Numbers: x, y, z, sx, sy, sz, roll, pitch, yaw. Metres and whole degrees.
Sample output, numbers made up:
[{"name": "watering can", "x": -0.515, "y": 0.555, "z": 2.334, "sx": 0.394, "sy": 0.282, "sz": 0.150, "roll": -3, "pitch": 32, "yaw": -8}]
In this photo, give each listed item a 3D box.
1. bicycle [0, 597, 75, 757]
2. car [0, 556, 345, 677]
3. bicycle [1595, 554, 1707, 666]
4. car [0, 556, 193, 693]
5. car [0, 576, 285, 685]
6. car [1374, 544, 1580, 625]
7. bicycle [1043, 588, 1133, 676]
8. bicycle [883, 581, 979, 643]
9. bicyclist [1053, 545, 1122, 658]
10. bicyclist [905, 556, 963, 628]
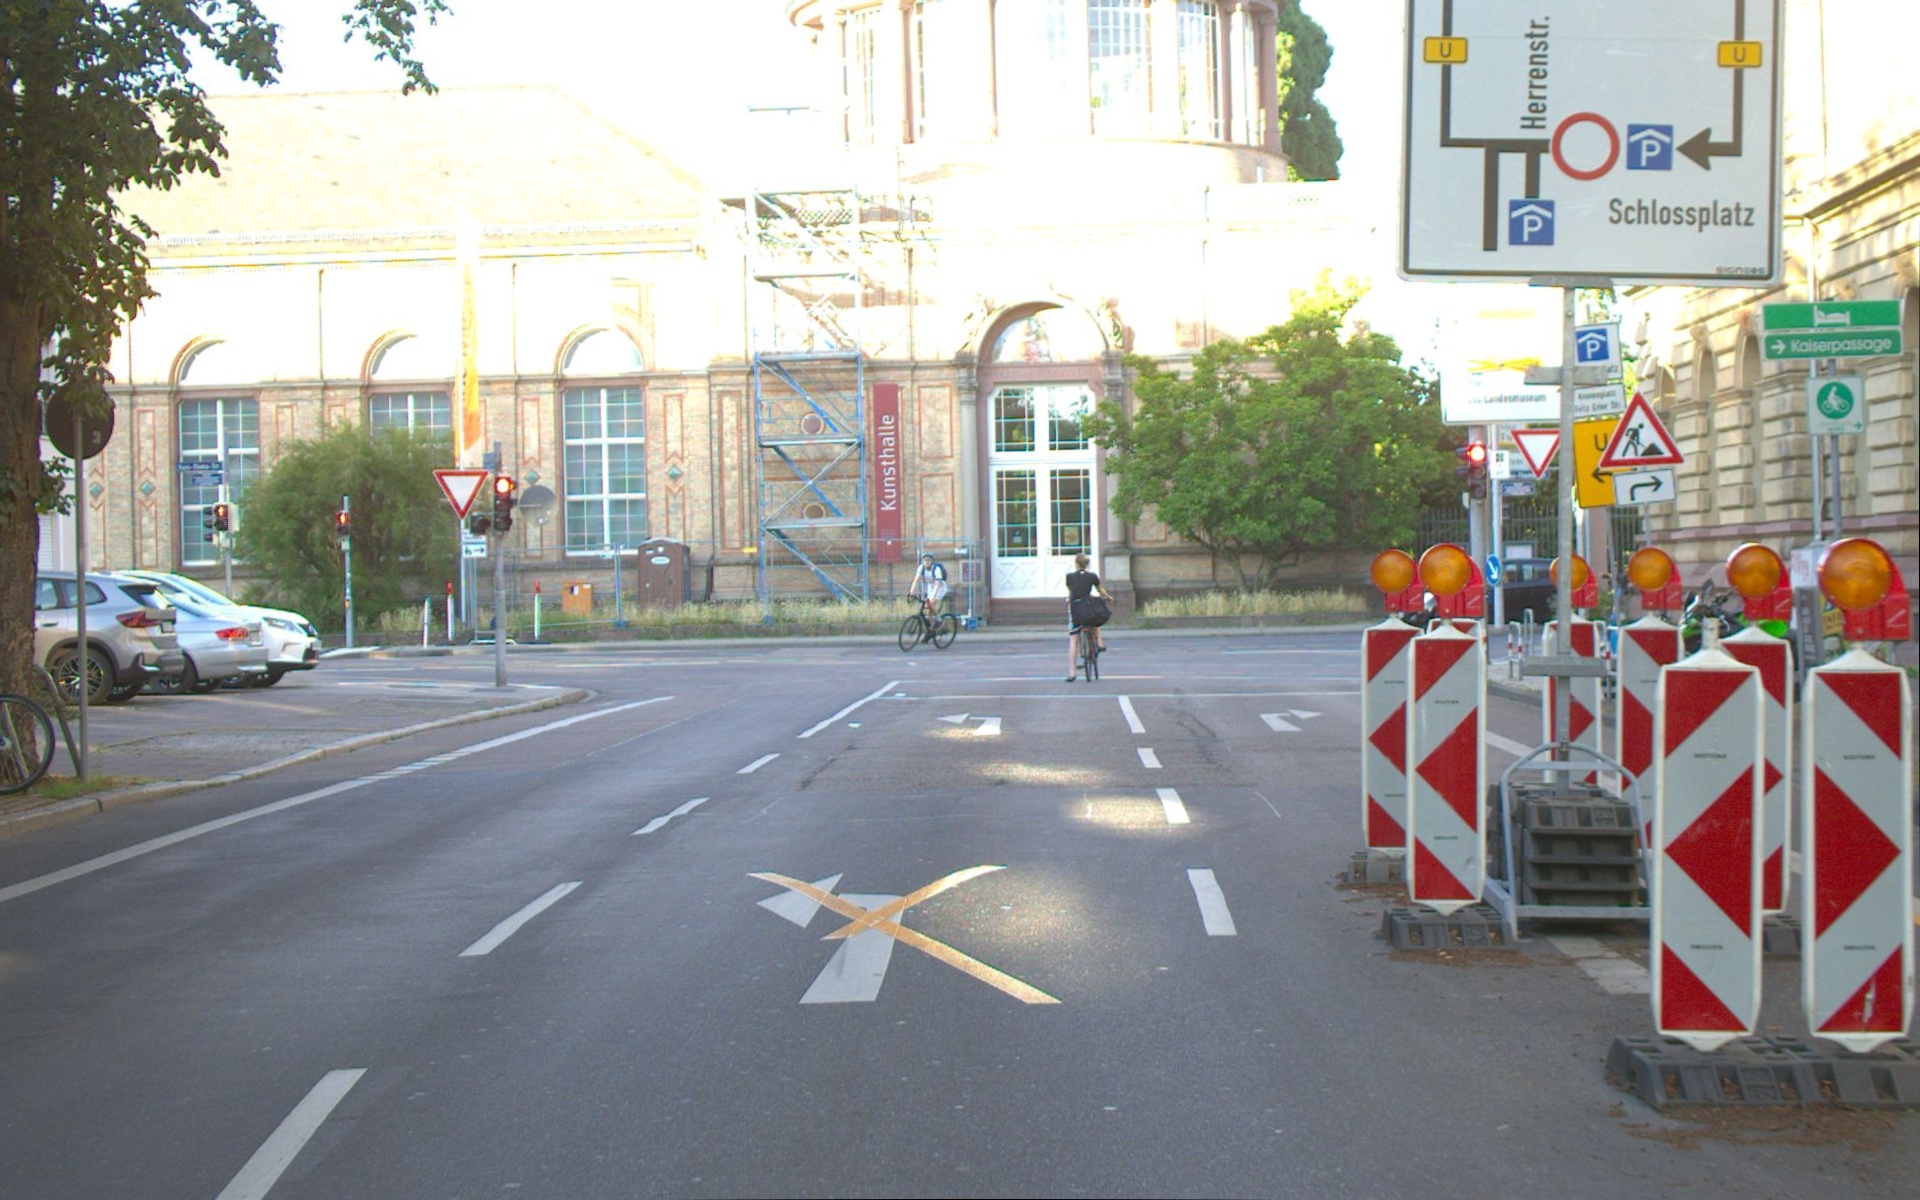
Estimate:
[{"name": "bicycle", "x": -7.194, "y": 0.543, "z": 24.011, "sx": 1.866, "sy": 1.100, "sz": 0.610, "roll": -1, "pitch": 0, "yaw": -4}, {"name": "car", "x": -11.150, "y": 0.215, "z": 48.860, "sx": 4.440, "sy": 1.635, "sz": 1.942, "roll": 1, "pitch": 1, "yaw": 1}, {"name": "bicycle", "x": 7.516, "y": 0.097, "z": 37.460, "sx": 0.827, "sy": 1.130, "sz": 1.944, "roll": -4, "pitch": 1, "yaw": 2}, {"name": "car", "x": -11.739, "y": 0.271, "z": 41.732, "sx": 4.418, "sy": 1.599, "sz": 1.916, "roll": 1, "pitch": 1, "yaw": 1}, {"name": "car", "x": -11.371, "y": 0.393, "z": 46.137, "sx": 4.266, "sy": 1.376, "sz": 1.736, "roll": 1, "pitch": 1, "yaw": 1}, {"name": "car", "x": 10.474, "y": -0.325, "z": 69.818, "sx": 3.840, "sy": 1.466, "sz": 1.663, "roll": -2, "pitch": 1, "yaw": -3}, {"name": "bicycle", "x": 1.748, "y": 0.434, "z": 46.812, "sx": 0.712, "sy": 1.152, "sz": 2.067, "roll": -1, "pitch": -1, "yaw": 16}, {"name": "bicycle", "x": -0.543, "y": 0.234, "z": 65.600, "sx": 0.626, "sy": 1.152, "sz": 2.048, "roll": -2, "pitch": -1, "yaw": 41}, {"name": "bicyclist", "x": 1.741, "y": 0.025, "z": 46.800, "sx": 0.716, "sy": 1.497, "sz": 0.850, "roll": -1, "pitch": -1, "yaw": 17}, {"name": "bicyclist", "x": -0.501, "y": -0.148, "z": 65.657, "sx": 0.626, "sy": 1.360, "sz": 0.927, "roll": -2, "pitch": -1, "yaw": 41}]
